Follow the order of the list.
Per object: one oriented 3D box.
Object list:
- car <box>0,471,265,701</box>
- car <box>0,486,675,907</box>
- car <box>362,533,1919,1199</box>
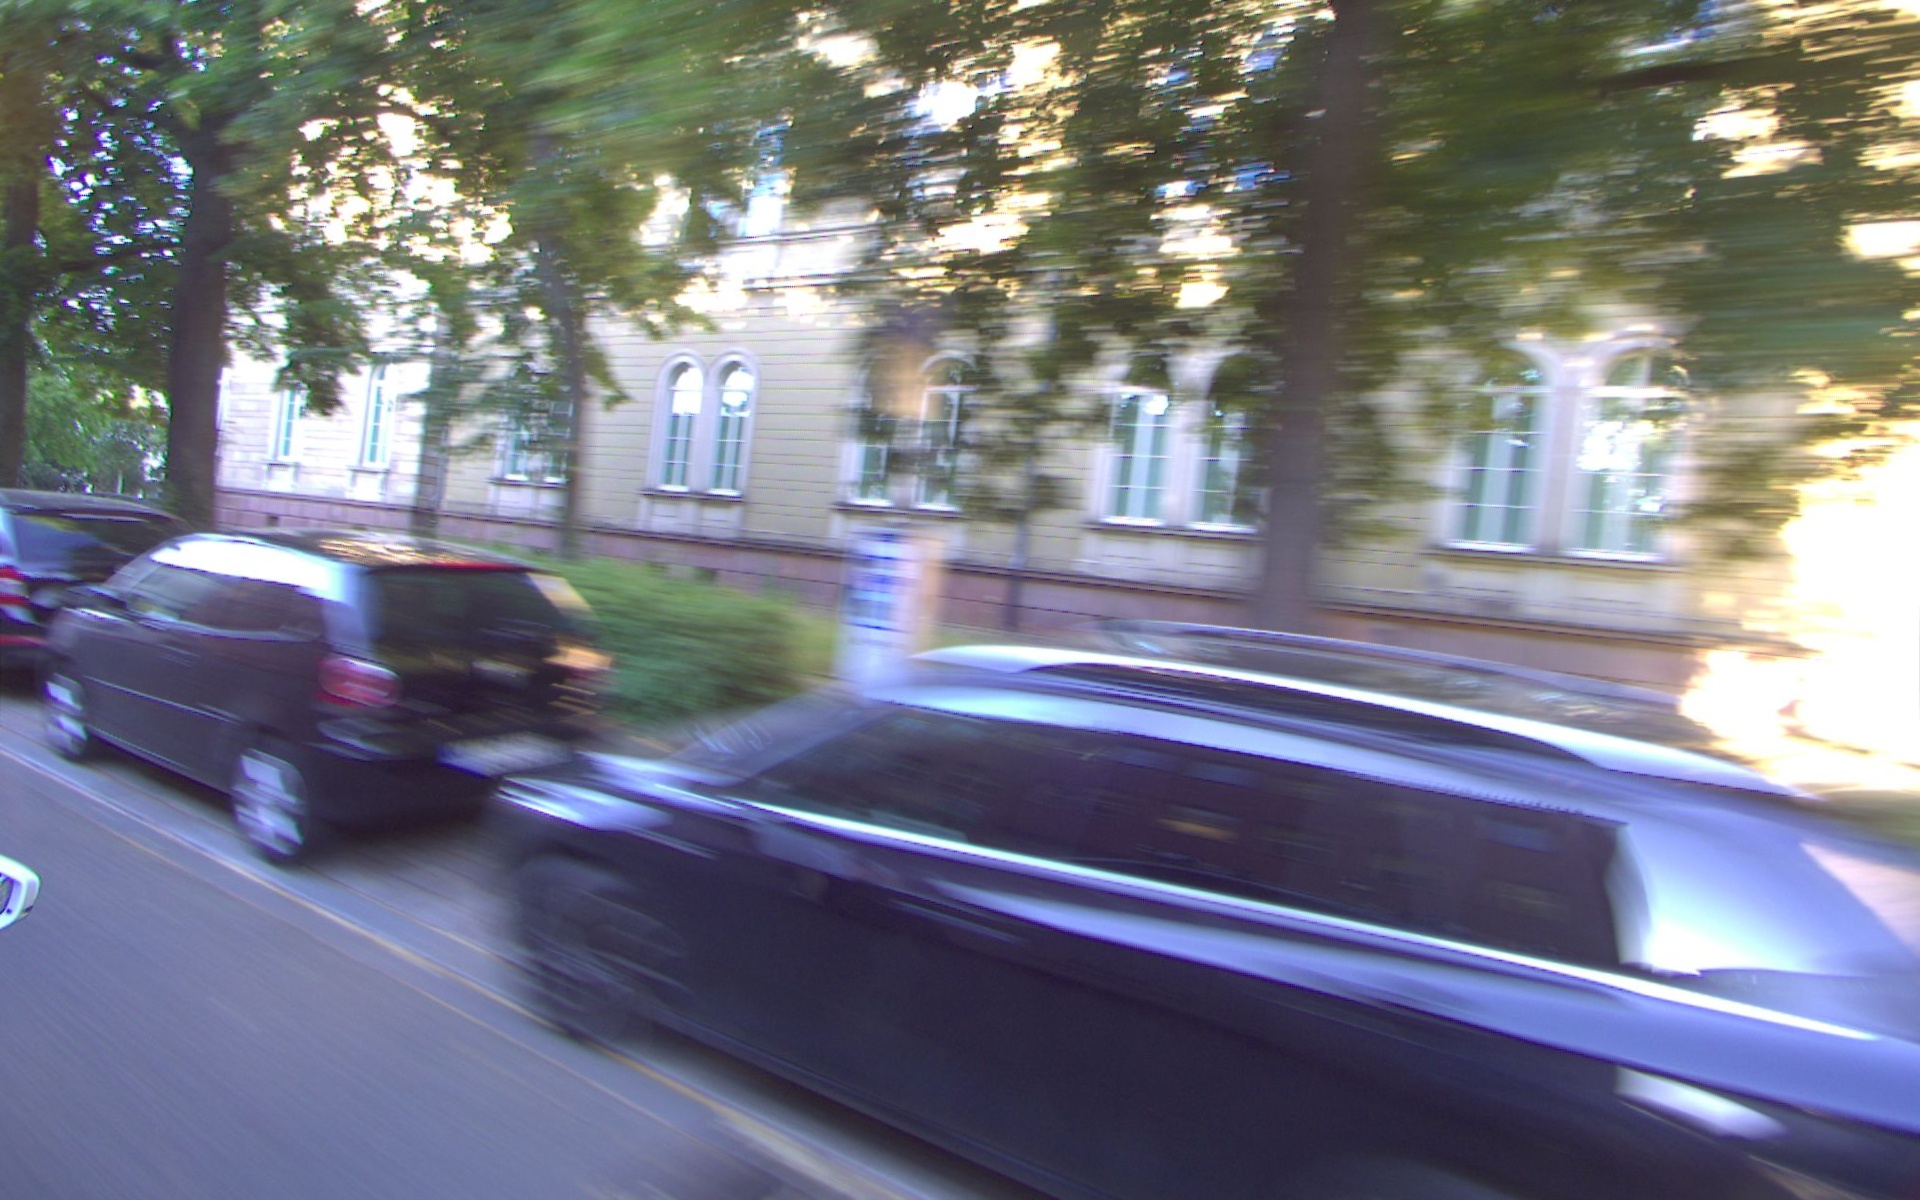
[{"bbox_3d":[-7.941,-0.252,8.372,4.445,1.525,1.737,6,0,30],"label":"car"},{"bbox_3d":[-3.758,0.264,5.819,4.121,1.555,1.722,6,4,33],"label":"car"},{"bbox_3d":[0.274,0.738,3.179,4.545,1.555,1.723,6,4,30],"label":"car"}]
